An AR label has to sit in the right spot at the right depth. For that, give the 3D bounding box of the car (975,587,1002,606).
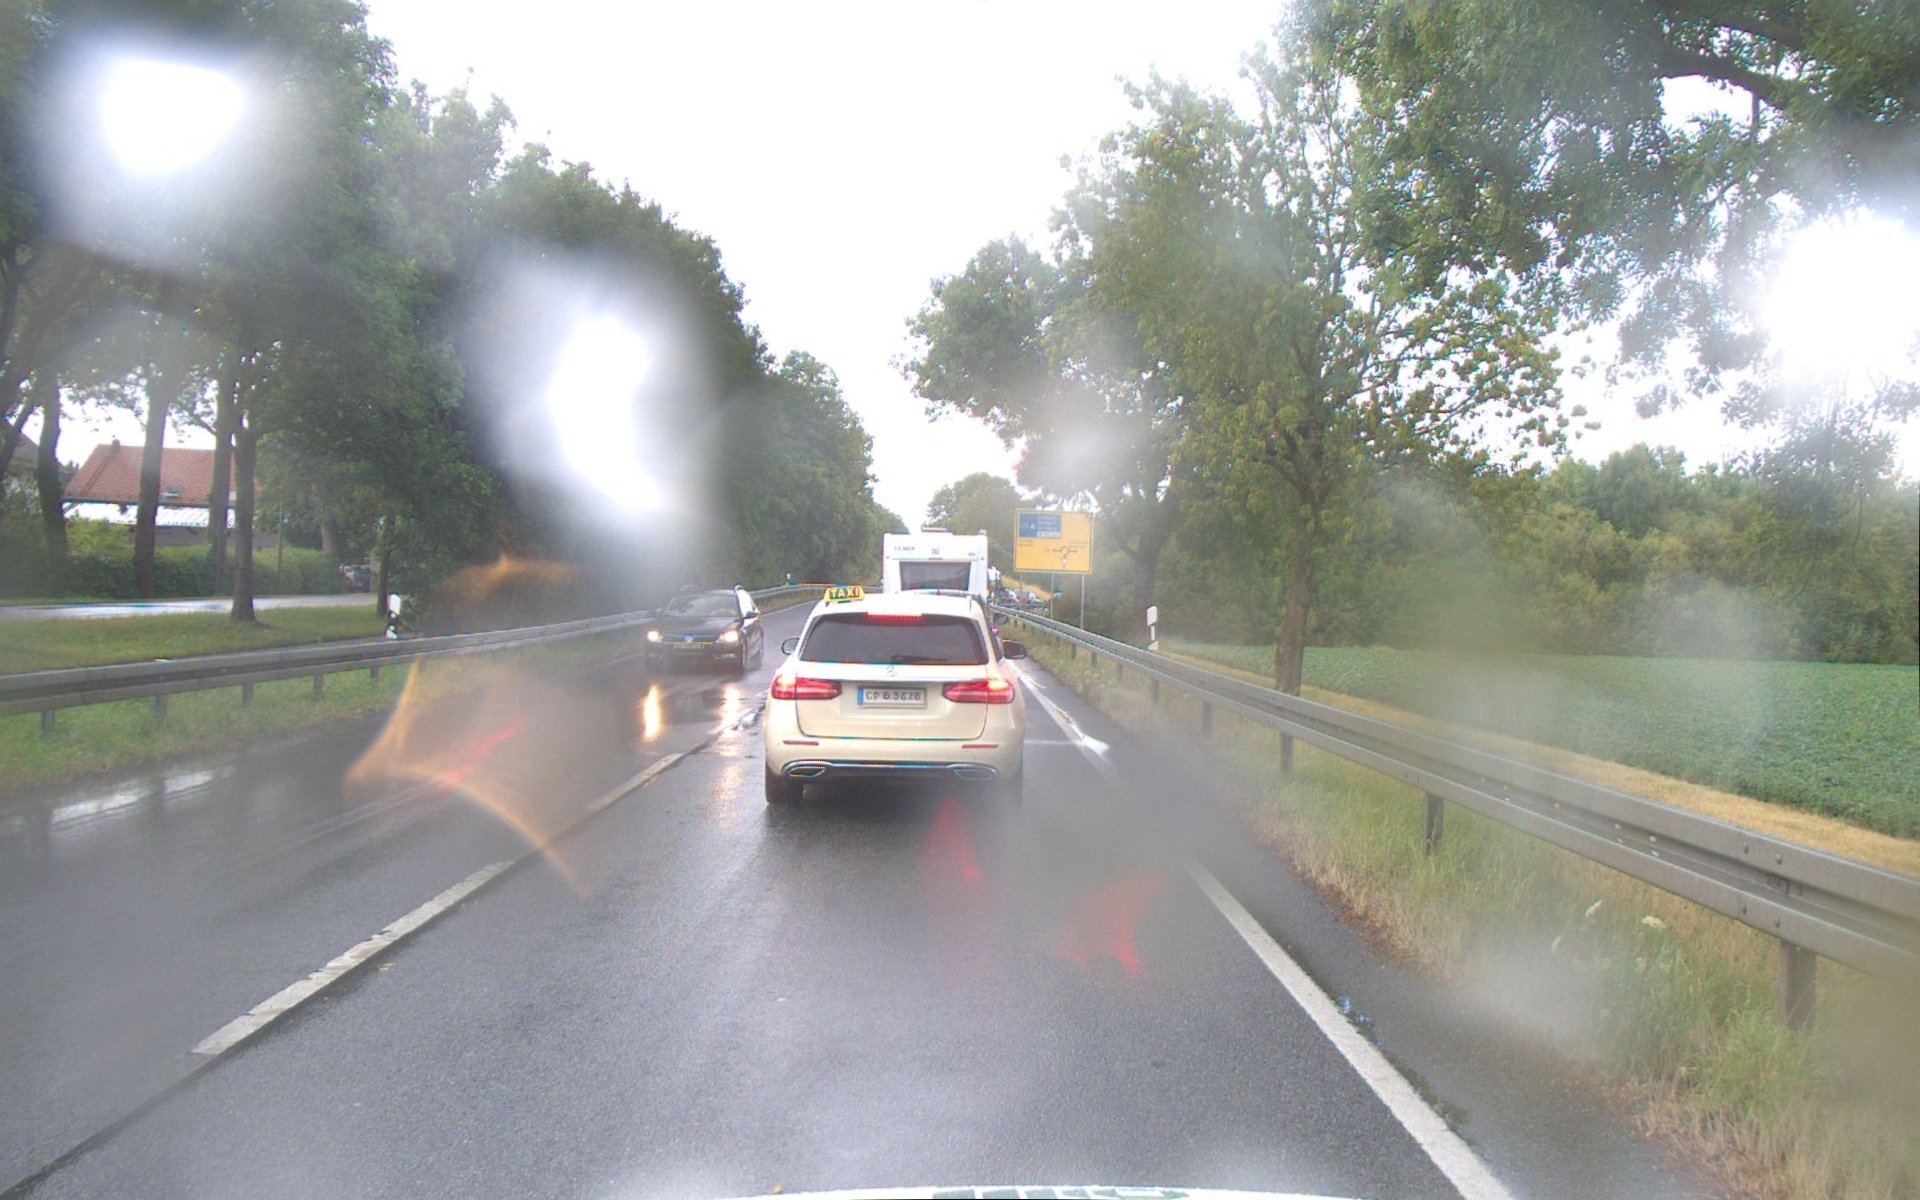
[{"bbox_3d":[1.775,-0.231,103.178,1.520,1.138,3.999,1,0,-1],"label":"car"}]

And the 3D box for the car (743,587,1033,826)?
[{"bbox_3d":[-0.433,0.655,12.449,1.826,1.502,4.000,0,0,1],"label":"car"}]

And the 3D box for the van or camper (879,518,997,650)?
[{"bbox_3d":[-0.436,-0.350,37.479,2.438,2.732,5.701,1,0,1],"label":"van or camper"}]

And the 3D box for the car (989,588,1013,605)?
[{"bbox_3d":[2.784,-0.217,112.693,1.520,1.138,4.000,1,0,0],"label":"car"}]

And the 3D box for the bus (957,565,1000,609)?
[{"bbox_3d":[0.858,-0.610,79.368,1.953,2.049,3.999,0,1,-1],"label":"bus"}]

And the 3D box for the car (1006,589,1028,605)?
[{"bbox_3d":[4.091,-0.201,119.492,1.519,1.138,4.001,1,0,1],"label":"car"}]

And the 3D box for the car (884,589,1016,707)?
[{"bbox_3d":[-0.101,0.586,22.559,1.630,1.455,4.000,0,0,1],"label":"car"}]

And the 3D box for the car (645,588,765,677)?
[{"bbox_3d":[-4.536,0.537,29.893,1.595,1.463,3.959,1,1,-1],"label":"car"}]
